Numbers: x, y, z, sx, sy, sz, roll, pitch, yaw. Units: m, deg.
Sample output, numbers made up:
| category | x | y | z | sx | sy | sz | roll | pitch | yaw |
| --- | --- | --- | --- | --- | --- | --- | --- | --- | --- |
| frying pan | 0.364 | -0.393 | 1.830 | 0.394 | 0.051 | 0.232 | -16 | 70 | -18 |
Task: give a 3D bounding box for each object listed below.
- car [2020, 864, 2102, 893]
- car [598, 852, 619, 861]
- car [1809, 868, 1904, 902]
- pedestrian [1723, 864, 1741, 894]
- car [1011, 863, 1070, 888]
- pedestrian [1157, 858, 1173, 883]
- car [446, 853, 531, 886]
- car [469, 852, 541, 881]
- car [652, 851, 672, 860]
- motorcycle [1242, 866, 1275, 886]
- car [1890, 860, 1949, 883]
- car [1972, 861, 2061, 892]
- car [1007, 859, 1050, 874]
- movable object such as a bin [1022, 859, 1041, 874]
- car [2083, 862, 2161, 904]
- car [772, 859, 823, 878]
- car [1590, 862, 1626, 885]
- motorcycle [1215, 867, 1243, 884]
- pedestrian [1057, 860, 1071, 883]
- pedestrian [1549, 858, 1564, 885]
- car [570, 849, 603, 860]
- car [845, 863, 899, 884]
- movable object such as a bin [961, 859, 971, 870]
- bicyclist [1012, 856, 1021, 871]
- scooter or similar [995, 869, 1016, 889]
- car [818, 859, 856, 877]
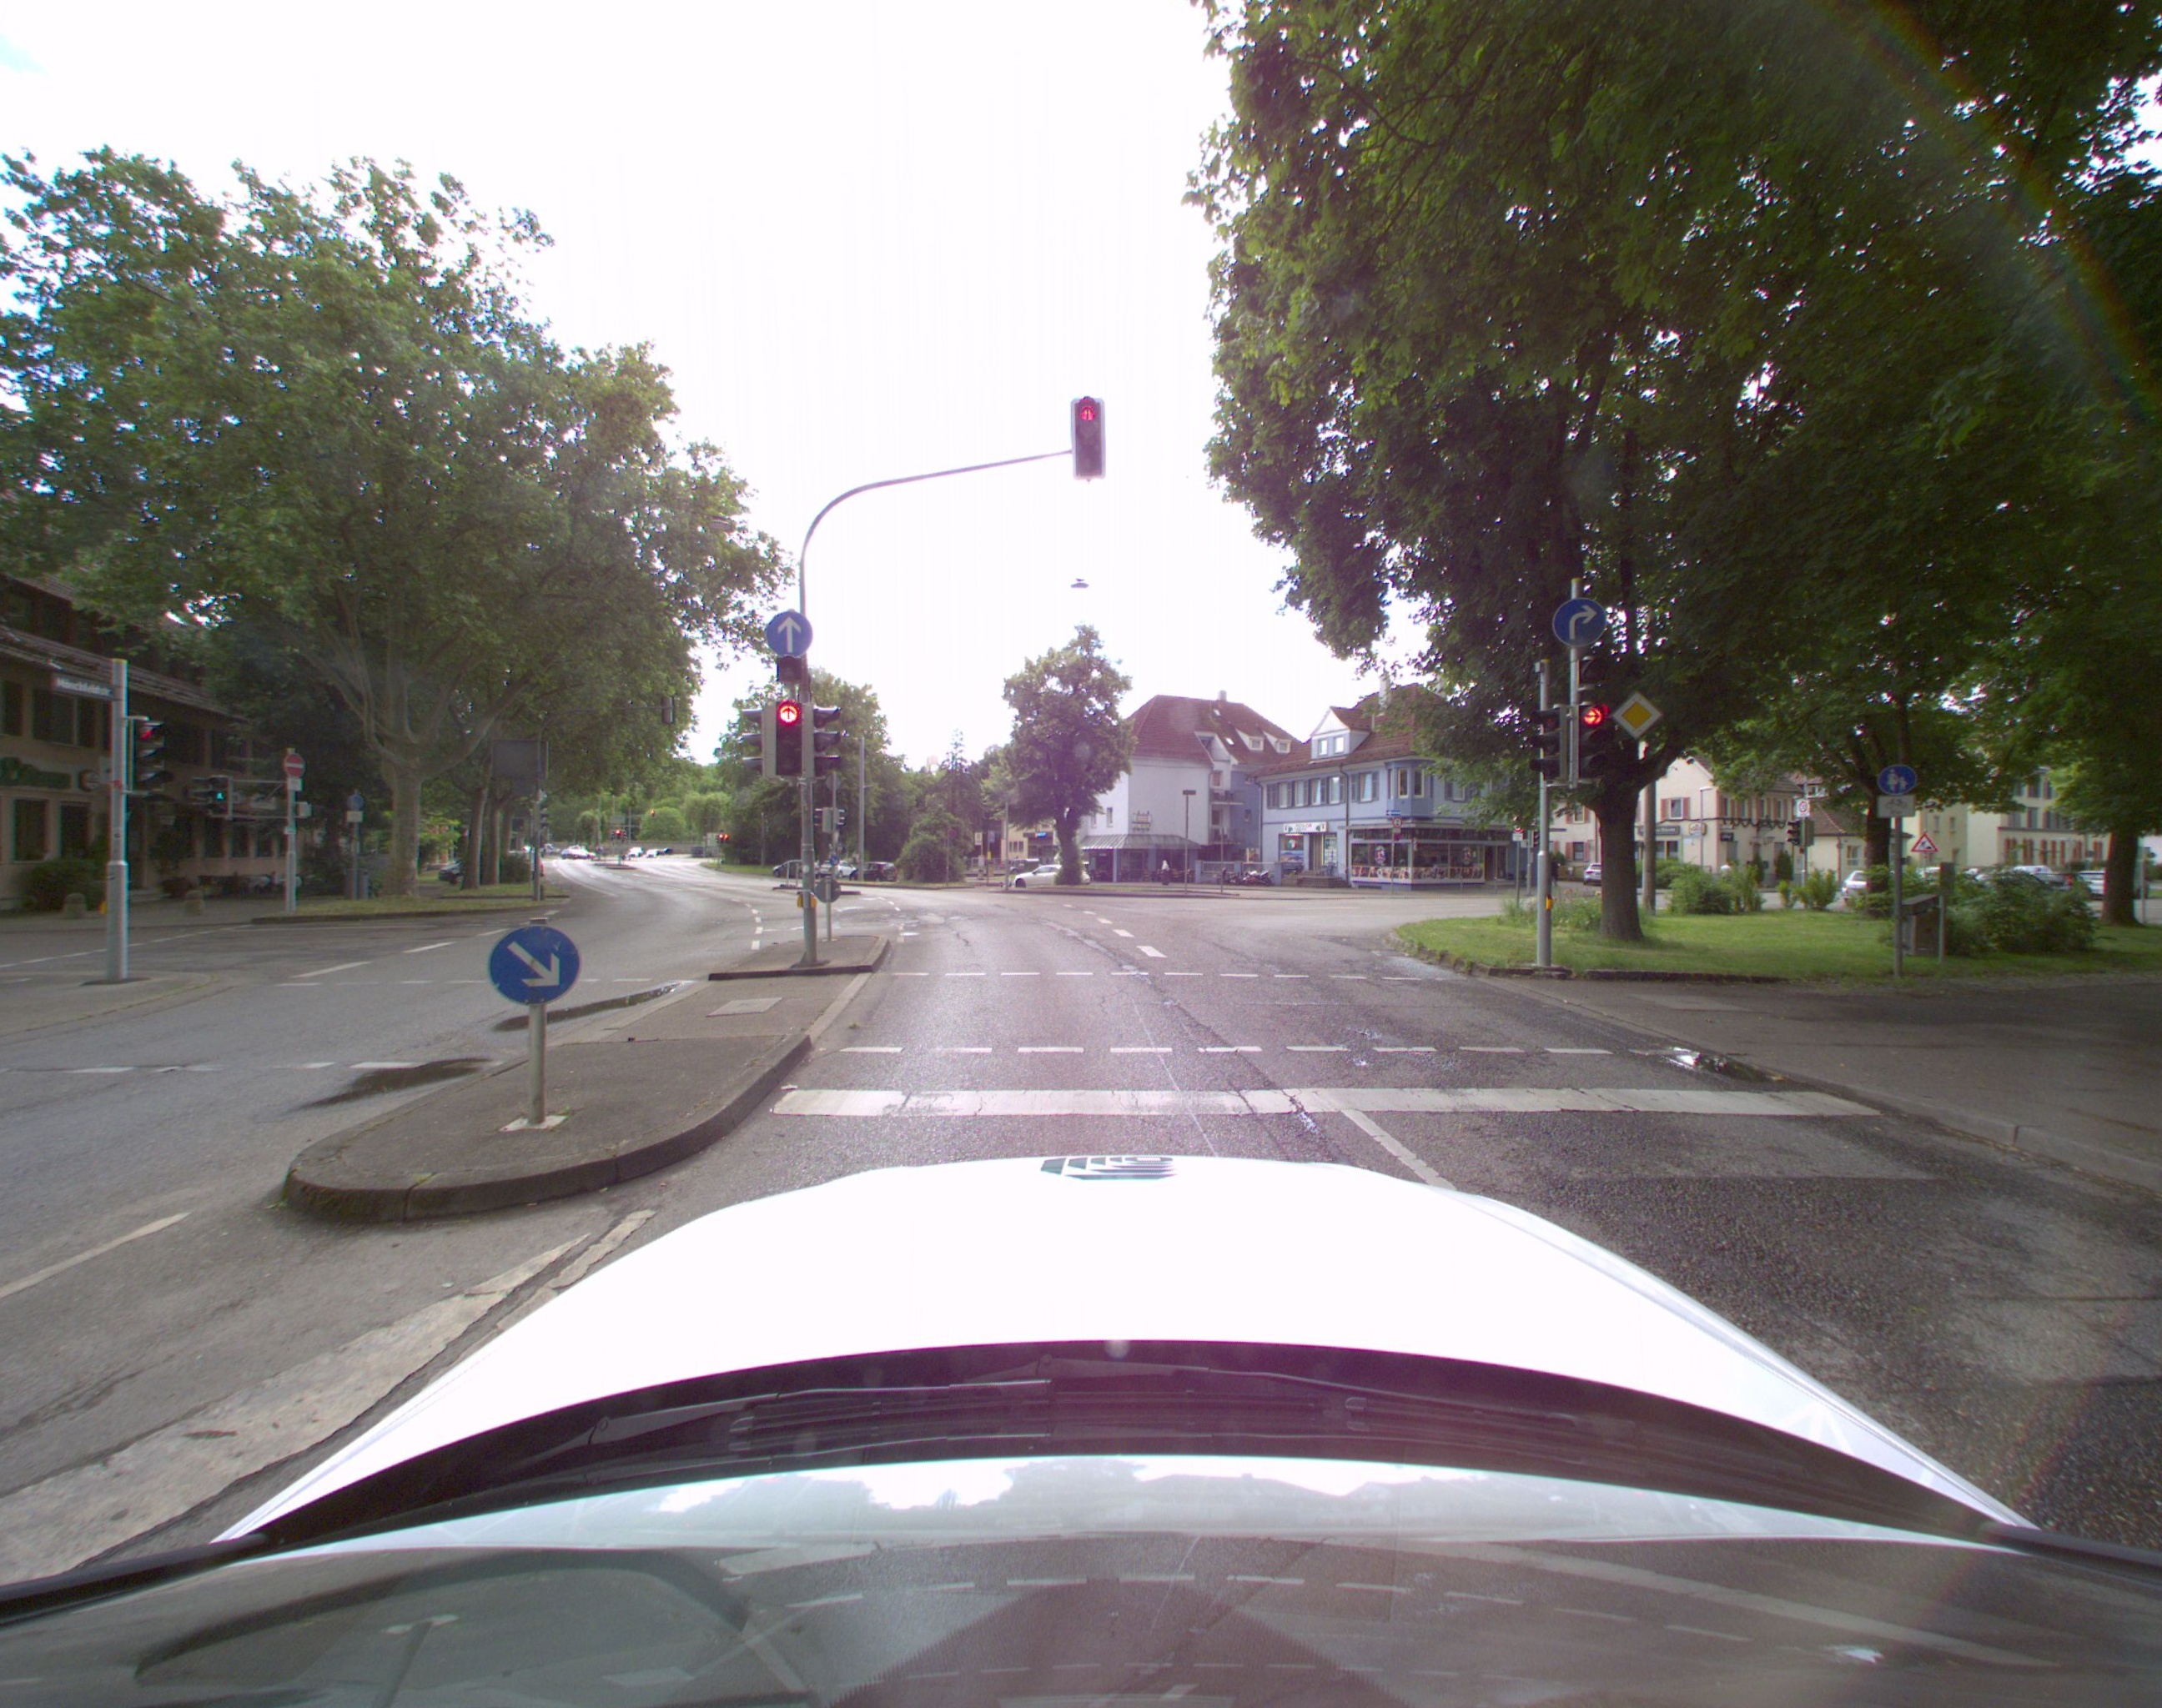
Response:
| category | x | y | z | sx | sy | sz | roll | pitch | yaw |
| --- | --- | --- | --- | --- | --- | --- | --- | --- | --- |
| car | 47.002 | 1.166 | 39.061 | 3.511 | 1.321 | 1.549 | 0 | 0 | -22 |
| car | -106.181 | 0.502 | 183.027 | 4.011 | 2.014 | 1.981 | 0 | -1 | -29 |
| car | 31.961 | 1.252 | 33.570 | 3.511 | 1.321 | 1.549 | 0 | 0 | -22 |
| pedestrian | 36.675 | 1.404 | 45.897 | 0.611 | 1.649 | 0.606 | 0 | -1 | -27 |
| car | -2.310 | 1.204 | 46.240 | 3.134 | 1.354 | 1.448 | 0 | -1 | 36 |
| pedestrian | 5.272 | 1.017 | 51.284 | 0.759 | 1.545 | 0.682 | -1 | -1 | 41 |
| car | -31.003 | 0.786 | 42.718 | 3.461 | 1.641 | 1.557 | 0 | -1 | -31 |
| car | -35.486 | 0.760 | 50.284 | 3.461 | 1.742 | 1.557 | 0 | -1 | -31 |
| car | -95.501 | 0.444 | 185.603 | 4.011 | 2.014 | 1.981 | 0 | -1 | -29 |
| motorcycle | 10.533 | 1.289 | 48.265 | 1.777 | 1.121 | 0.699 | 0 | -1 | 40 |
| car | 55.114 | 1.127 | 53.532 | 4.007 | 1.420 | 1.544 | 0 | 0 | -26 |
| car | 42.214 | 0.976 | 36.754 | 3.510 | 1.321 | 1.549 | 0 | 0 | -21 |
| car | -4.883 | 1.138 | 76.157 | 3.752 | 1.345 | 1.422 | 0 | 0 | -25 |
| movable object such as a bin | -4.525 | 1.136 | 74.250 | 1.447 | 1.409 | 0.959 | 0 | -1 | -25 |
| car | 52.829 | 1.435 | 41.128 | 4.004 | 2.014 | 1.770 | 0 | -1 | -23 |
| car | -22.440 | 1.117 | 64.486 | 3.520 | 1.464 | 1.591 | 0 | 0 | 14 |
| car | 32.601 | 1.185 | 50.343 | 1.481 | 1.369 | 3.198 | -1 | -1 | 40 |
| motorcycle | 9.112 | 1.315 | 50.079 | 0.699 | 1.064 | 1.617 | 0 | -1 | -44 |
| pedestrian | -1.157 | 1.180 | 55.643 | 0.699 | 1.545 | 0.682 | -1 | -1 | 42 |
| pedestrian | 27.276 | 0.993 | 46.701 | 0.459 | 1.517 | 0.584 | 0 | -1 | -18 |
| car | -75.572 | 0.081 | 124.549 | 4.001 | 1.783 | 1.986 | 0 | 0 | -21 |
| car | -13.909 | 1.269 | 54.207 | 3.549 | 1.394 | 1.481 | 0 | -1 | 34 |
| movable object such as a bin | -12.223 | 1.123 | 86.640 | 0.953 | 1.115 | 0.381 | 0 | -1 | -19 |
| bicyclist | -6.701 | 0.938 | 84.063 | 0.730 | 1.541 | 0.604 | -1 | -1 | 41 |
| scooter or similar | -3.979 | 1.292 | 42.883 | 0.413 | 1.011 | 1.575 | -1 | -1 | 22 |
| car | -20.081 | 1.134 | 67.188 | 1.534 | 1.464 | 3.407 | 0 | 0 | 13 |
